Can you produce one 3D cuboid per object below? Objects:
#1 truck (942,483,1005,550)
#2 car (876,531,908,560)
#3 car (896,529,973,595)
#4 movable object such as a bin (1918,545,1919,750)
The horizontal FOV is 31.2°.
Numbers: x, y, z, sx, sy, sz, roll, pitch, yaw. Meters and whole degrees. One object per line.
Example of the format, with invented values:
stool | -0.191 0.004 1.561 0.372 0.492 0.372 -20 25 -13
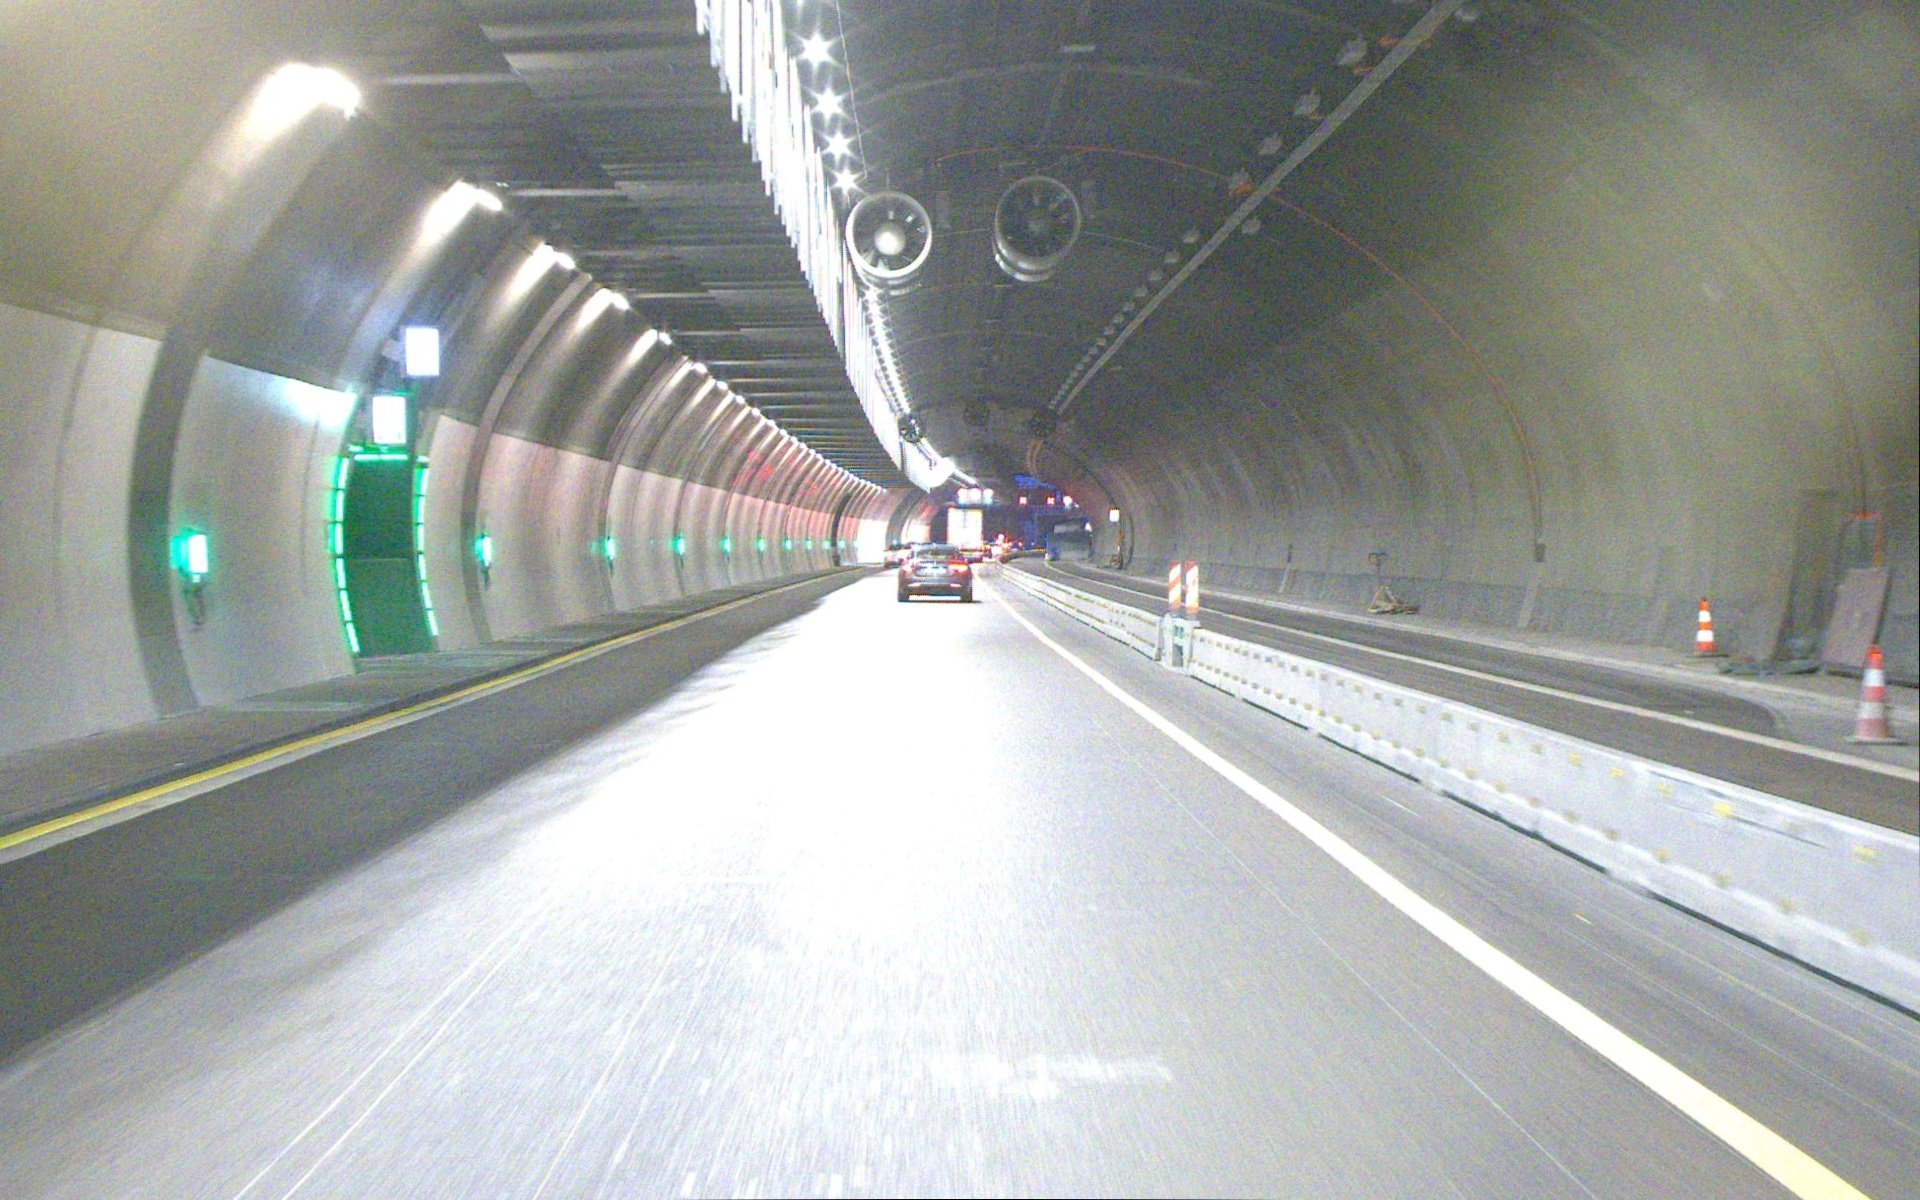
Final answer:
truck | 1.073 -6.296 261.541 4.546 4.970 9.599 1 1 2
car | -3.960 -3.160 199.980 1.827 1.601 4.000 1 1 -1
car | -0.675 -0.967 86.853 1.887 1.601 4.000 1 1 -1
movable object such as a bin | 7.764 0.038 22.358 1.683 2.138 4.628 1 1 -1
